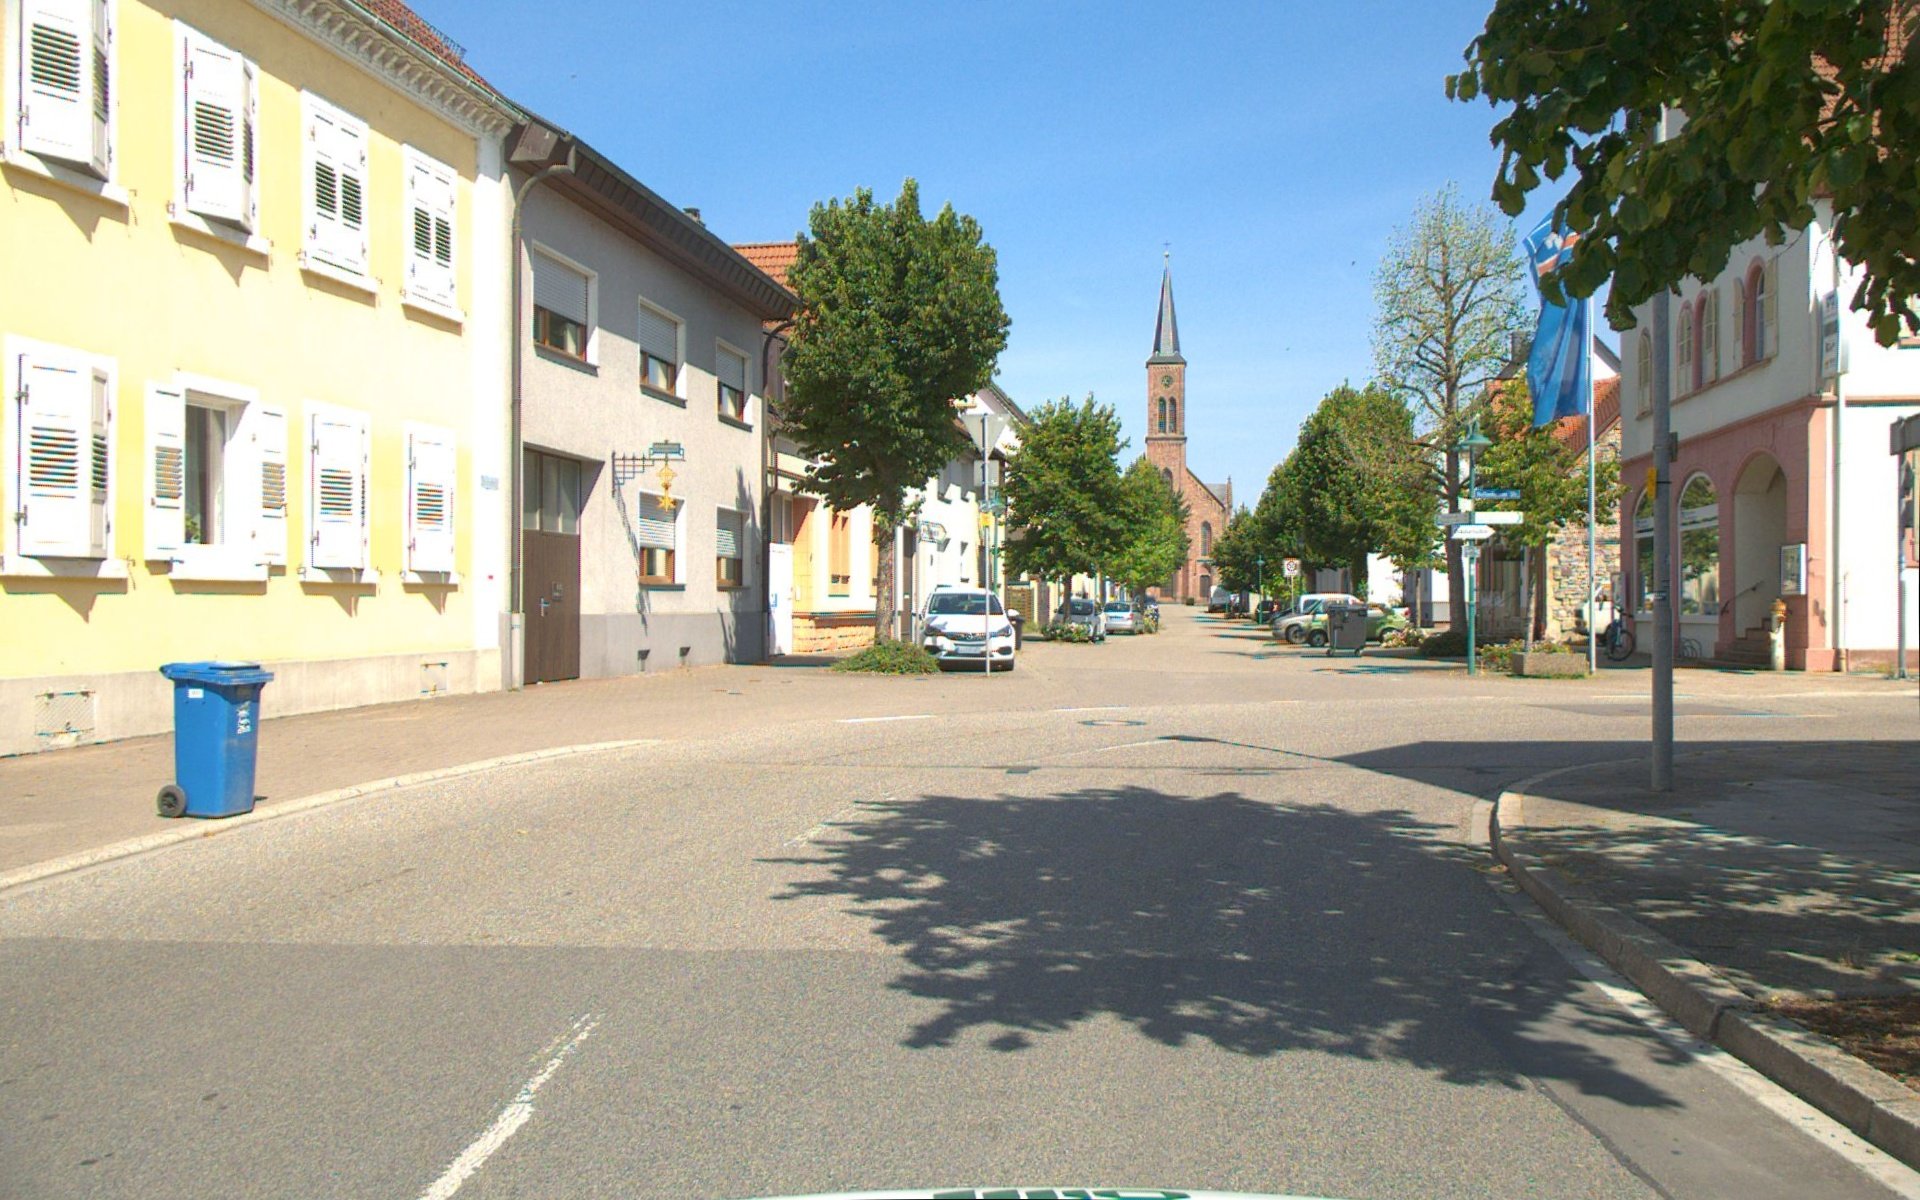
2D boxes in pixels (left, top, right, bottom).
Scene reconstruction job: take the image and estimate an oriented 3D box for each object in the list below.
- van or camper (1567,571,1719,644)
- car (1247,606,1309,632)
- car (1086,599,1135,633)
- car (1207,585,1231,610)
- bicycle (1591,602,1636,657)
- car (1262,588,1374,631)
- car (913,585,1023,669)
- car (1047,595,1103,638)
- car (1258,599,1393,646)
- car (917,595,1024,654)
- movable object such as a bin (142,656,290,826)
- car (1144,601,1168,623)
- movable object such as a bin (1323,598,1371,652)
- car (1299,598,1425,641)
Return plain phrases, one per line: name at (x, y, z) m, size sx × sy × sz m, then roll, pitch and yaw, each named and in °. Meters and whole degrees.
van or camper at (19.884, 0.221, 48.331) m, size 3.903 × 2.049 × 2.001 m, roll 0°, pitch 0°, yaw 17°
car at (21.018, 1.237, 109.505) m, size 3.902 × 1.646 × 2.001 m, roll 0°, pitch 0°, yaw 6°
car at (6.746, 0.701, 74.319) m, size 1.952 × 1.489 × 4.001 m, roll 1°, pitch 0°, yaw 2°
car at (24.962, -0.204, 159.442) m, size 2.197 × 2.318 × 4.506 m, roll 1°, pitch -1°, yaw 8°
bicycle at (14.069, 0.619, 35.625) m, size 0.580 × 1.155 × 1.750 m, roll 0°, pitch 0°, yaw 11°
car at (13.693, 0.350, 63.436) m, size 4.061 × 1.595 × 2.002 m, roll 0°, pitch 0°, yaw 8°
car at (0.073, 0.464, 31.162) m, size 1.812 × 1.466 × 4.510 m, roll 0°, pitch 0°, yaw -3°
car at (4.446, 0.623, 63.615) m, size 1.951 × 1.601 × 4.003 m, roll 0°, pitch 0°, yaw 7°
car at (13.364, 0.800, 60.768) m, size 4.701 × 1.652 × 2.002 m, roll 0°, pitch 0°, yaw 8°
car at (0.363, 0.601, 44.501) m, size 1.942 × 1.466 × 5.216 m, roll 0°, pitch 0°, yaw 11°
movable object such as a bin at (-4.606, 0.859, 10.267) m, size 0.629 × 0.998 × 0.614 m, roll 0°, pitch 0°, yaw 1°
car at (17.128, 1.019, 144.430) m, size 1.951 × 1.847 × 4.002 m, roll 0°, pitch 0°, yaw 5°
movable object such as a bin at (9.752, 0.627, 41.729) m, size 1.162 × 1.361 × 0.790 m, roll 0°, pitch 0°, yaw 12°
car at (13.146, 0.619, 54.262) m, size 3.840 × 1.368 × 2.002 m, roll 0°, pitch 0°, yaw 8°
